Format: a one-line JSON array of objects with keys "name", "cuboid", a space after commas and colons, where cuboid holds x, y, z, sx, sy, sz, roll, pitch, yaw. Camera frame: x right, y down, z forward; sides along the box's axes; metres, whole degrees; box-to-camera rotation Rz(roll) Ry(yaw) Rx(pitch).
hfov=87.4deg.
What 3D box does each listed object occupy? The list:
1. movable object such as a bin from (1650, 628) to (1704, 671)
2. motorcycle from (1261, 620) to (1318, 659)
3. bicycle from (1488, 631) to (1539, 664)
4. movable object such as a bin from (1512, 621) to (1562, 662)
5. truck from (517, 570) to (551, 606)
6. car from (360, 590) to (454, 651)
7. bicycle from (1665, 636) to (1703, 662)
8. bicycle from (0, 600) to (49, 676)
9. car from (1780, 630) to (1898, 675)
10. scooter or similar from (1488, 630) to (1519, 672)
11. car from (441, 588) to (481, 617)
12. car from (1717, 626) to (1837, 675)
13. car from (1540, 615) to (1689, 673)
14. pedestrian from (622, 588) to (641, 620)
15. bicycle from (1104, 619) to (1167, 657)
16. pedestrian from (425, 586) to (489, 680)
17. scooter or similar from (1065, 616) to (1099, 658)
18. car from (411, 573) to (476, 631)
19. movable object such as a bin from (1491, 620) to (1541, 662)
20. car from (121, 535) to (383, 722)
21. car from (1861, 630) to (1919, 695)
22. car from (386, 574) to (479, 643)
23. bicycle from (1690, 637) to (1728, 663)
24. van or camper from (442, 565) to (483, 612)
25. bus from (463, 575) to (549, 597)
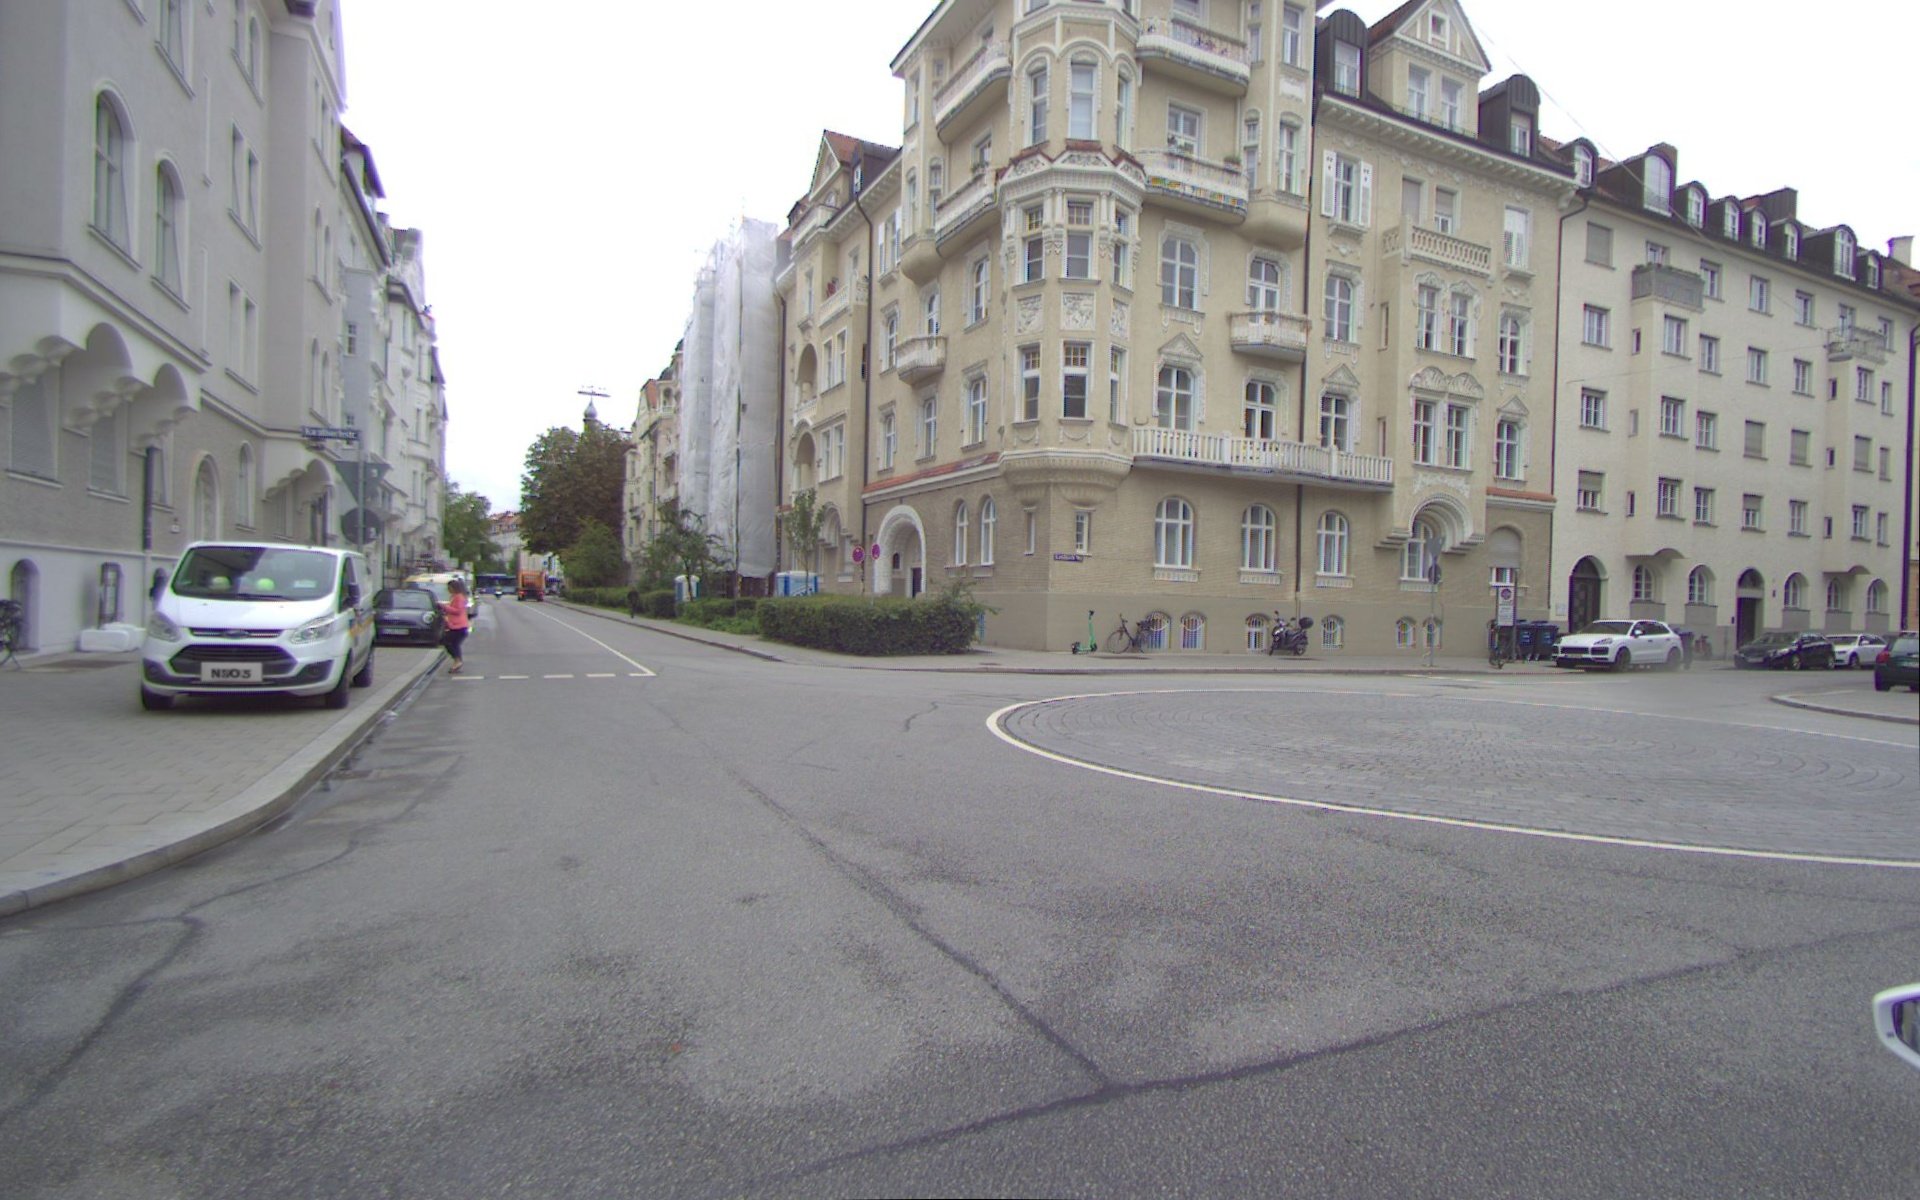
[{"name": "movable object such as a bin", "cuboid": [25.156, 1.737, 35.231, 1.158, 1.444, 1.087, 2, 0, -25]}, {"name": "motorcycle", "cuboid": [10.442, 1.243, 31.844, 1.807, 1.192, 0.596, 2, 0, -28]}, {"name": "bicycle", "cuboid": [18.445, 1.576, 33.474, 1.807, 1.063, 0.560, 2, 0, -28]}, {"name": "movable object such as a bin", "cuboid": [21.184, 1.515, 36.875, 1.158, 1.444, 1.087, 2, 0, -25]}, {"name": "truck", "cuboid": [-46.690, -1.281, 109.967, 3.147, 3.671, 8.679, 2, 0, -24]}, {"name": "car", "cuboid": [-13.508, 0.482, 24.713, 1.674, 1.364, 3.658, 2, -1, -24]}, {"name": "bicycle", "cuboid": [30.499, 2.068, 42.310, 1.807, 1.063, 0.560, 2, 0, -28]}, {"name": "bicycle", "cuboid": [-14.127, 0.542, 14.770, 0.485, 1.063, 1.820, 2, 0, -23]}, {"name": "car", "cuboid": [34.877, 2.086, 39.855, 4.349, 1.602, 1.969, 2, 0, -26]}, {"name": "scooter or similar", "cuboid": [16.634, 1.539, 30.763, 0.458, 1.209, 1.216, 2, 0, 13]}, {"name": "car", "cuboid": [-25.036, 0.129, 50.483, 1.674, 1.364, 3.517, 2, -1, -25]}, {"name": "car", "cuboid": [30.610, 1.882, 37.614, 4.657, 1.637, 1.966, 2, 0, -30]}, {"name": "car", "cuboid": [21.379, 1.430, 32.768, 4.779, 1.723, 1.968, 2, 0, -28]}, {"name": "pedestrian", "cuboid": [-18.347, 0.244, 56.070, 0.865, 1.749, 1.045, 2, 0, -26]}, {"name": "bicycle", "cuboid": [5.121, 1.117, 29.278, 1.807, 1.063, 0.560, 2, 0, -28]}, {"name": "pedestrian", "cuboid": [-9.192, 0.598, 18.352, 0.849, 1.658, 0.724, 2, 0, -42]}, {"name": "scooter or similar", "cuboid": [3.429, 1.032, 28.137, 0.459, 1.130, 1.213, 2, 0, 31]}, {"name": "car", "cuboid": [-20.385, 0.069, 39.665, 2.098, 2.119, 4.788, 2, -1, -27]}, {"name": "movable object such as a bin", "cuboid": [20.117, 1.490, 36.370, 1.158, 1.444, 1.087, 2, 0, -25]}, {"name": "car", "cuboid": [-8.745, 0.293, 12.893, 1.900, 1.906, 4.879, 2, 0, -26]}, {"name": "car", "cuboid": [24.722, 1.572, 25.368, 4.373, 1.525, 1.809, 2, -1, -32]}, {"name": "car", "cuboid": [-15.505, 0.244, 29.727, 1.998, 1.863, 4.114, 2, -1, -22]}, {"name": "bicycle", "cuboid": [32.261, 2.148, 43.243, 1.807, 1.063, 0.560, 2, 0, -28]}, {"name": "van or camper", "cuboid": [-33.469, -0.768, 67.673, 1.972, 2.952, 6.401, 2, 0, -23]}, {"name": "bus", "cuboid": [-68.384, -2.068, 151.918, 2.668, 2.938, 14.556, 2, 0, 18]}]
